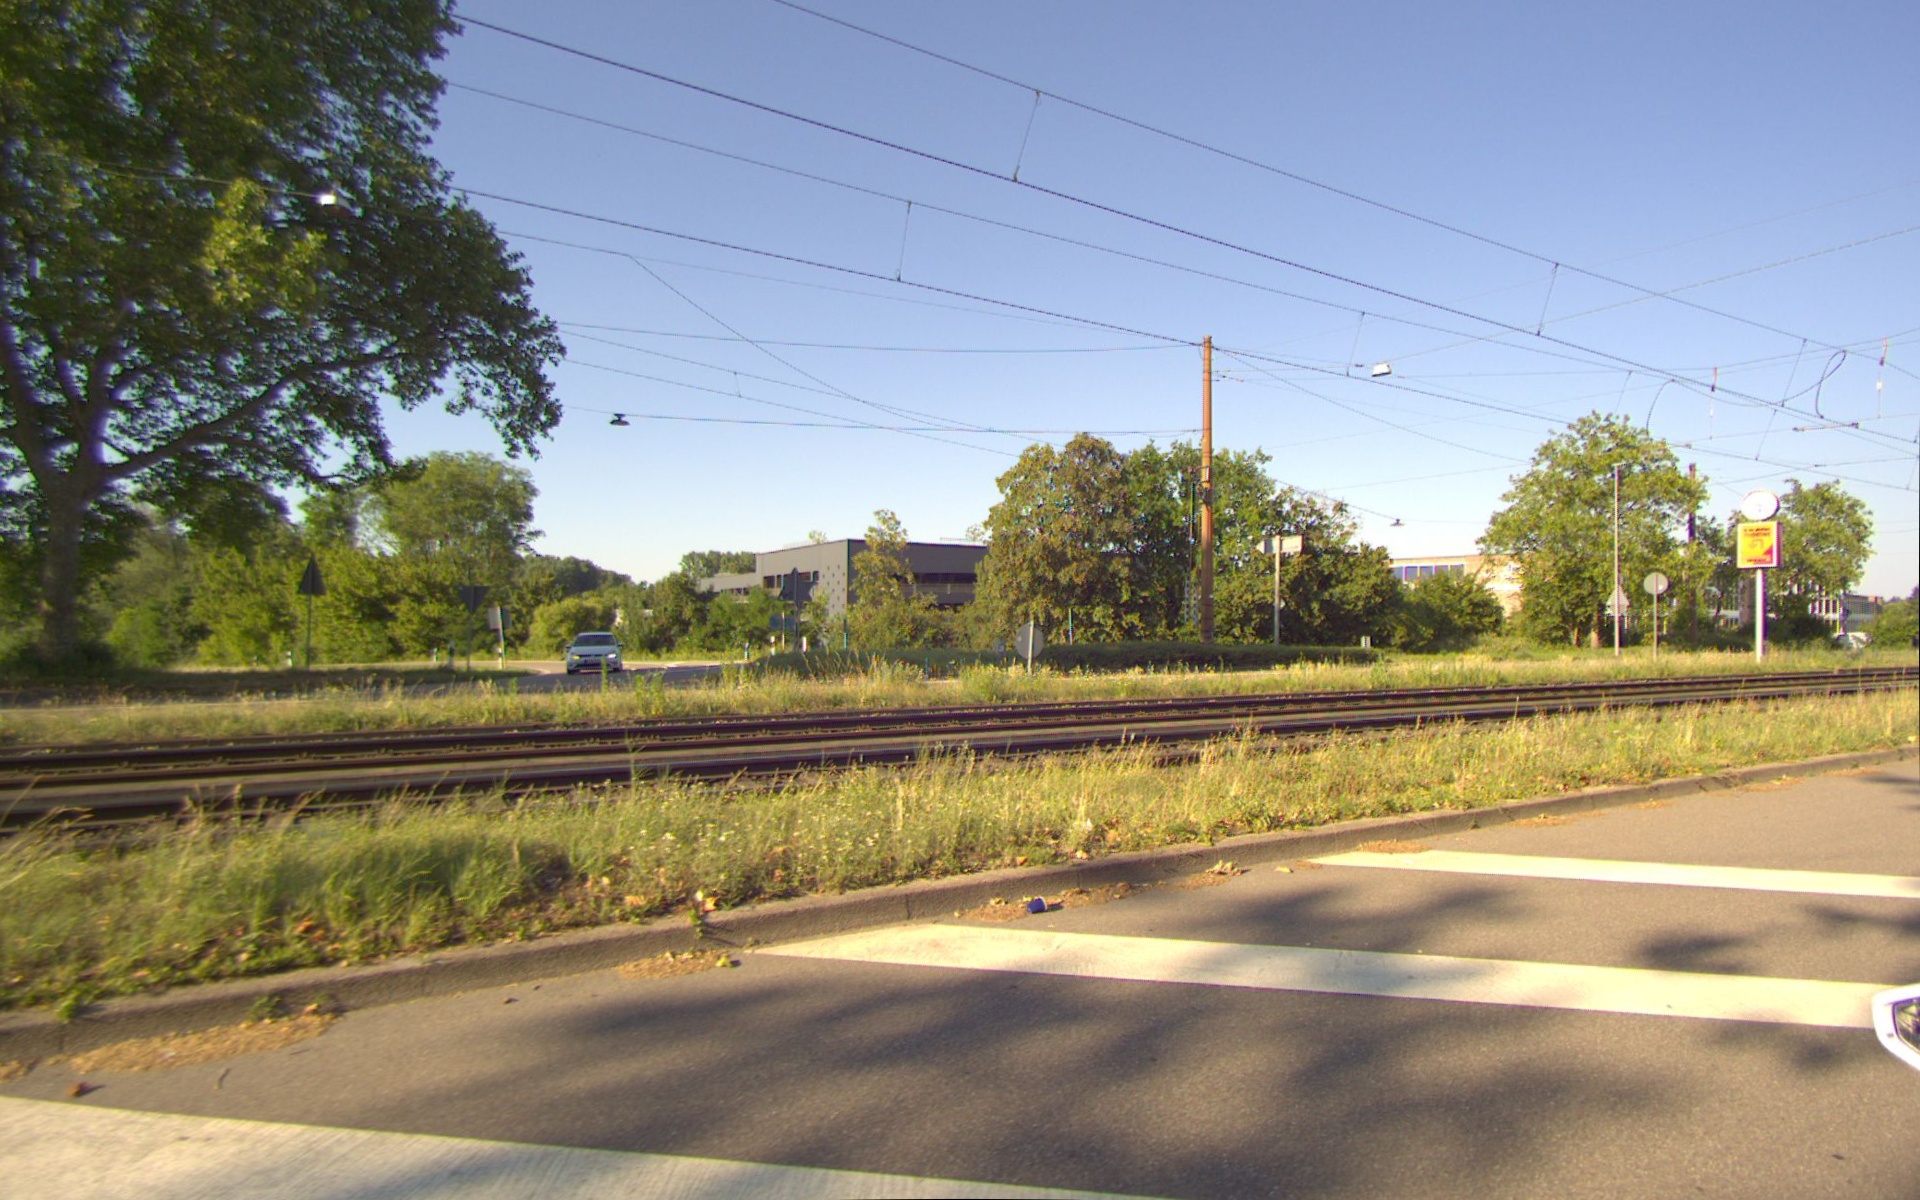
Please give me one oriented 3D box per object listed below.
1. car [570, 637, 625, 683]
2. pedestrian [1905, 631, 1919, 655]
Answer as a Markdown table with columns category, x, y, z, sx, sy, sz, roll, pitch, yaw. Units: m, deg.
| category | x | y | z | sx | sy | sz | roll | pitch | yaw |
| --- | --- | --- | --- | --- | --- | --- | --- | --- | --- |
| car | -13.119 | 2.140 | 36.531 | 1.632 | 1.545 | 4.258 | 3 | -3 | -17 |
| pedestrian | 75.686 | 3.399 | 79.860 | 0.639 | 1.845 | 0.541 | 1 | 0 | -9 |
